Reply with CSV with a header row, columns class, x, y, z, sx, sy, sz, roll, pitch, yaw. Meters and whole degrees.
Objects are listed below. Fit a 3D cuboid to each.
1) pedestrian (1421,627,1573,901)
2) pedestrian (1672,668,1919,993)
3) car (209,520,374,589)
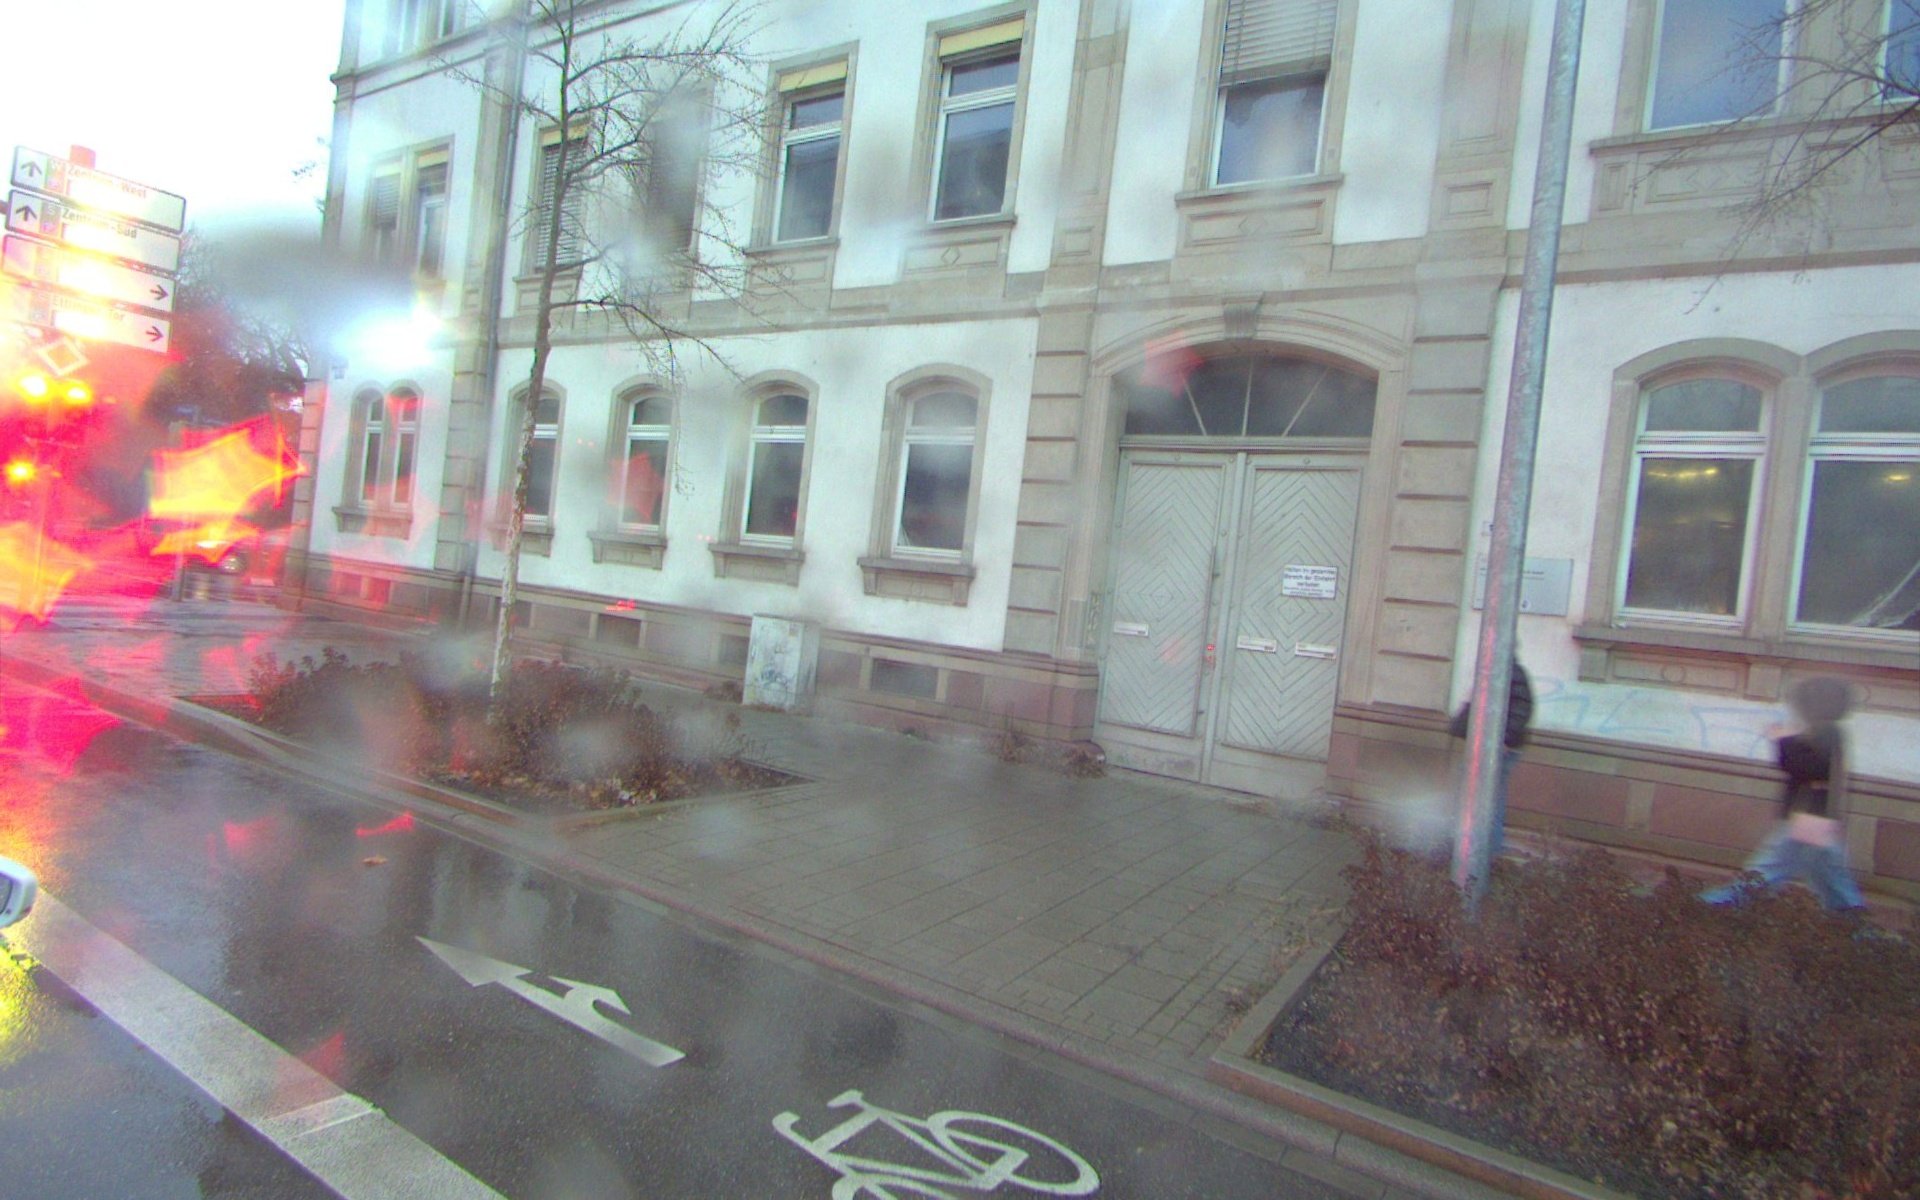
class,x,y,z,sx,sy,sz,roll,pitch,yaw
pedestrian,3.746,1.090,6.994,0.695,1.694,0.868,7,1,33
pedestrian,4.790,1.236,5.791,0.914,1.564,0.869,7,1,32
car,-20.268,-1.333,30.615,3.965,1.417,1.742,9,-3,-35
